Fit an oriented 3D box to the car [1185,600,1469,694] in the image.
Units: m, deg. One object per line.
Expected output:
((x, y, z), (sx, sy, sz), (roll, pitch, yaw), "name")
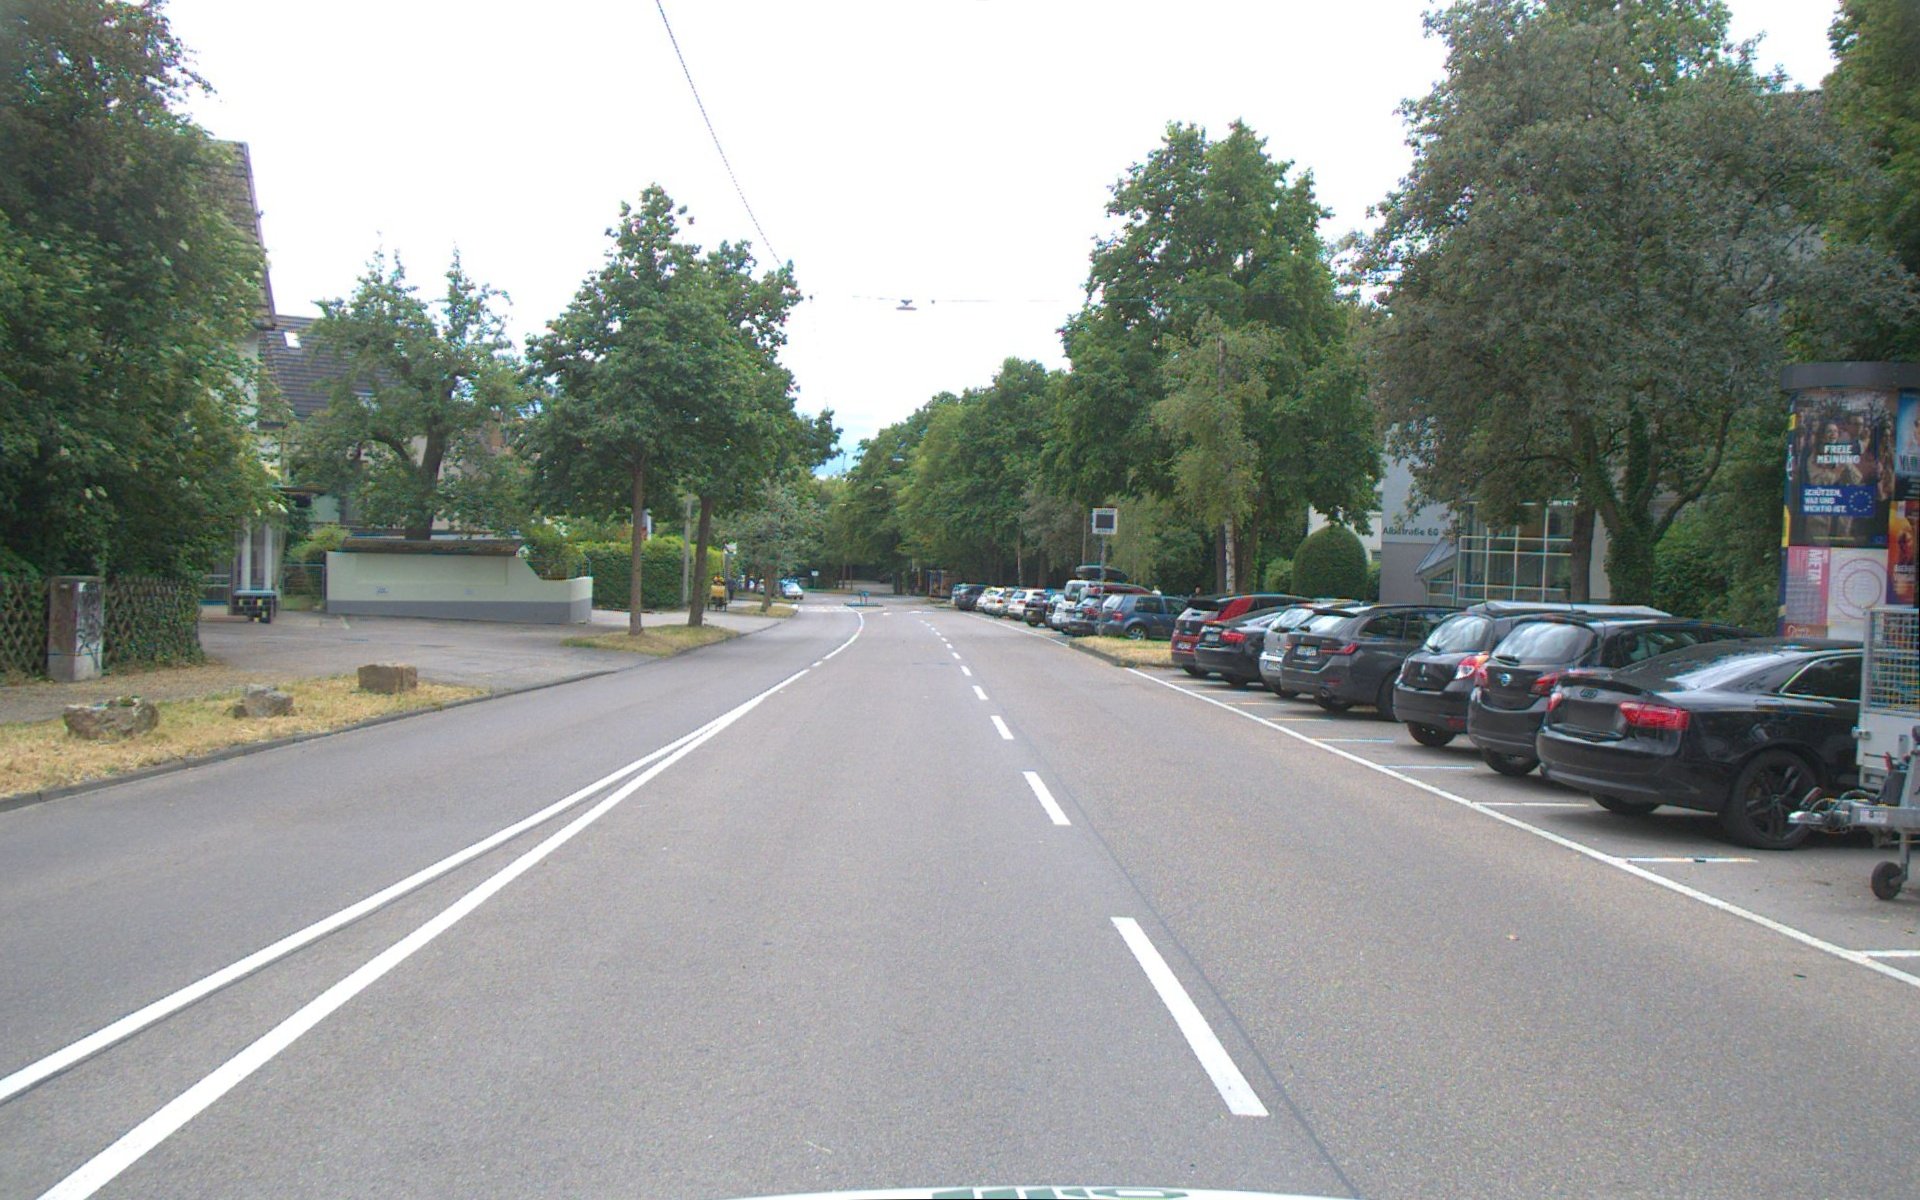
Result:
((6.031, 0.770, 27.252), (4.241, 1.364, 1.727), (2, 0, -16), "car")

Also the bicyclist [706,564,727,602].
((-11.126, -0.780, 75.660), (0.828, 1.727, 0.713), (2, 1, -4), "bicyclist")

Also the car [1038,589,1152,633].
((5.050, 0.400, 62.102), (3.829, 1.474, 1.832), (2, 0, -22), "car")

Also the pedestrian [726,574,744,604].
((-13.387, -0.671, 98.458), (0.955, 1.761, 0.848), (1, 0, -6), "pedestrian")

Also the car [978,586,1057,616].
((3.090, 0.062, 88.834), (3.829, 1.454, 1.733), (2, 0, -22), "car")

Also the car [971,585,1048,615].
((2.734, -0.002, 91.398), (3.829, 1.454, 1.733), (2, 0, -22), "car")

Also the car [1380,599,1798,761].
((6.479, 0.814, 17.153), (3.774, 1.480, 1.629), (2, 0, -14), "car")

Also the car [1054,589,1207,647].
((4.852, 0.504, 47.151), (3.967, 1.430, 1.747), (3, 0, -20), "car")

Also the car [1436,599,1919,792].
((6.356, 0.832, 14.641), (3.849, 1.512, 1.611), (2, 0, -17), "car")

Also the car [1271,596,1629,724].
((6.410, 0.781, 21.697), (4.273, 1.470, 1.627), (2, 1, -16), "car")

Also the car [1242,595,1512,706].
((6.207, 0.746, 24.687), (3.553, 1.470, 1.626), (2, 1, -17), "car")

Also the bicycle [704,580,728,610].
((-11.137, -0.226, 75.550), (0.828, 1.288, 2.650), (2, 1, -4), "bicycle")

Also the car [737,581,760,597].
((-21.860, -1.138, 170.832), (1.836, 1.496, 3.985), (1, 0, -14), "car")

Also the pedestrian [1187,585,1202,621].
((10.981, 0.143, 77.453), (0.636, 1.631, 0.744), (1, 0, 4), "pedestrian")

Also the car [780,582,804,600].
((-14.499, -0.805, 142.828), (1.832, 1.496, 3.993), (1, 0, -8), "car")

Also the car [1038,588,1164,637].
((4.862, 0.423, 57.156), (3.903, 1.474, 1.909), (3, 0, -17), "car")

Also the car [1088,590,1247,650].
((5.637, 0.542, 45.030), (3.901, 1.430, 1.749), (3, 0, -17), "car")

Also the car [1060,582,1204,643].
((5.249, 0.380, 50.617), (3.934, 1.648, 1.875), (3, 0, -18), "car")

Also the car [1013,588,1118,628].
((4.289, 0.313, 67.015), (3.835, 1.474, 1.830), (2, 0, -26), "car")

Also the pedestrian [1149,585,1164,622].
((9.056, 0.143, 76.329), (0.636, 1.700, 0.744), (1, 0, 4), "pedestrian")

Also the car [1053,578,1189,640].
((5.221, 0.291, 53.507), (4.040, 1.785, 1.771), (2, 0, -29), "car")

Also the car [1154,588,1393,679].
((5.726, 0.616, 30.163), (4.017, 1.542, 1.721), (1, 0, -24), "car")

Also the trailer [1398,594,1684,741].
((6.856, 0.789, 19.596), (2.936, 1.569, 1.298), (2, 1, -15), "trailer")

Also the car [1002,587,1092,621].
((4.115, 0.186, 78.215), (3.832, 1.474, 1.731), (2, 0, -23), "car")

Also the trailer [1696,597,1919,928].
((6.235, 0.863, 9.189), (3.624, 1.561, 1.641), (3, 1, -13), "trailer")

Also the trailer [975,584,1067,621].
((2.977, 0.119, 80.354), (4.094, 1.600, 1.701), (2, 0, -21), "trailer")

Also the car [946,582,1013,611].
((1.221, -0.239, 104.138), (3.829, 1.697, 1.733), (2, 0, -22), "car")

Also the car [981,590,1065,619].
((3.155, 0.219, 83.049), (3.836, 1.332, 1.729), (2, 0, -26), "car")

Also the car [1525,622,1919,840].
((6.236, 0.912, 11.725), (3.964, 1.350, 1.555), (2, 0, -11), "car")

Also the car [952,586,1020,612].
((1.589, -0.059, 101.362), (3.829, 1.454, 1.733), (2, 0, -22), "car")
